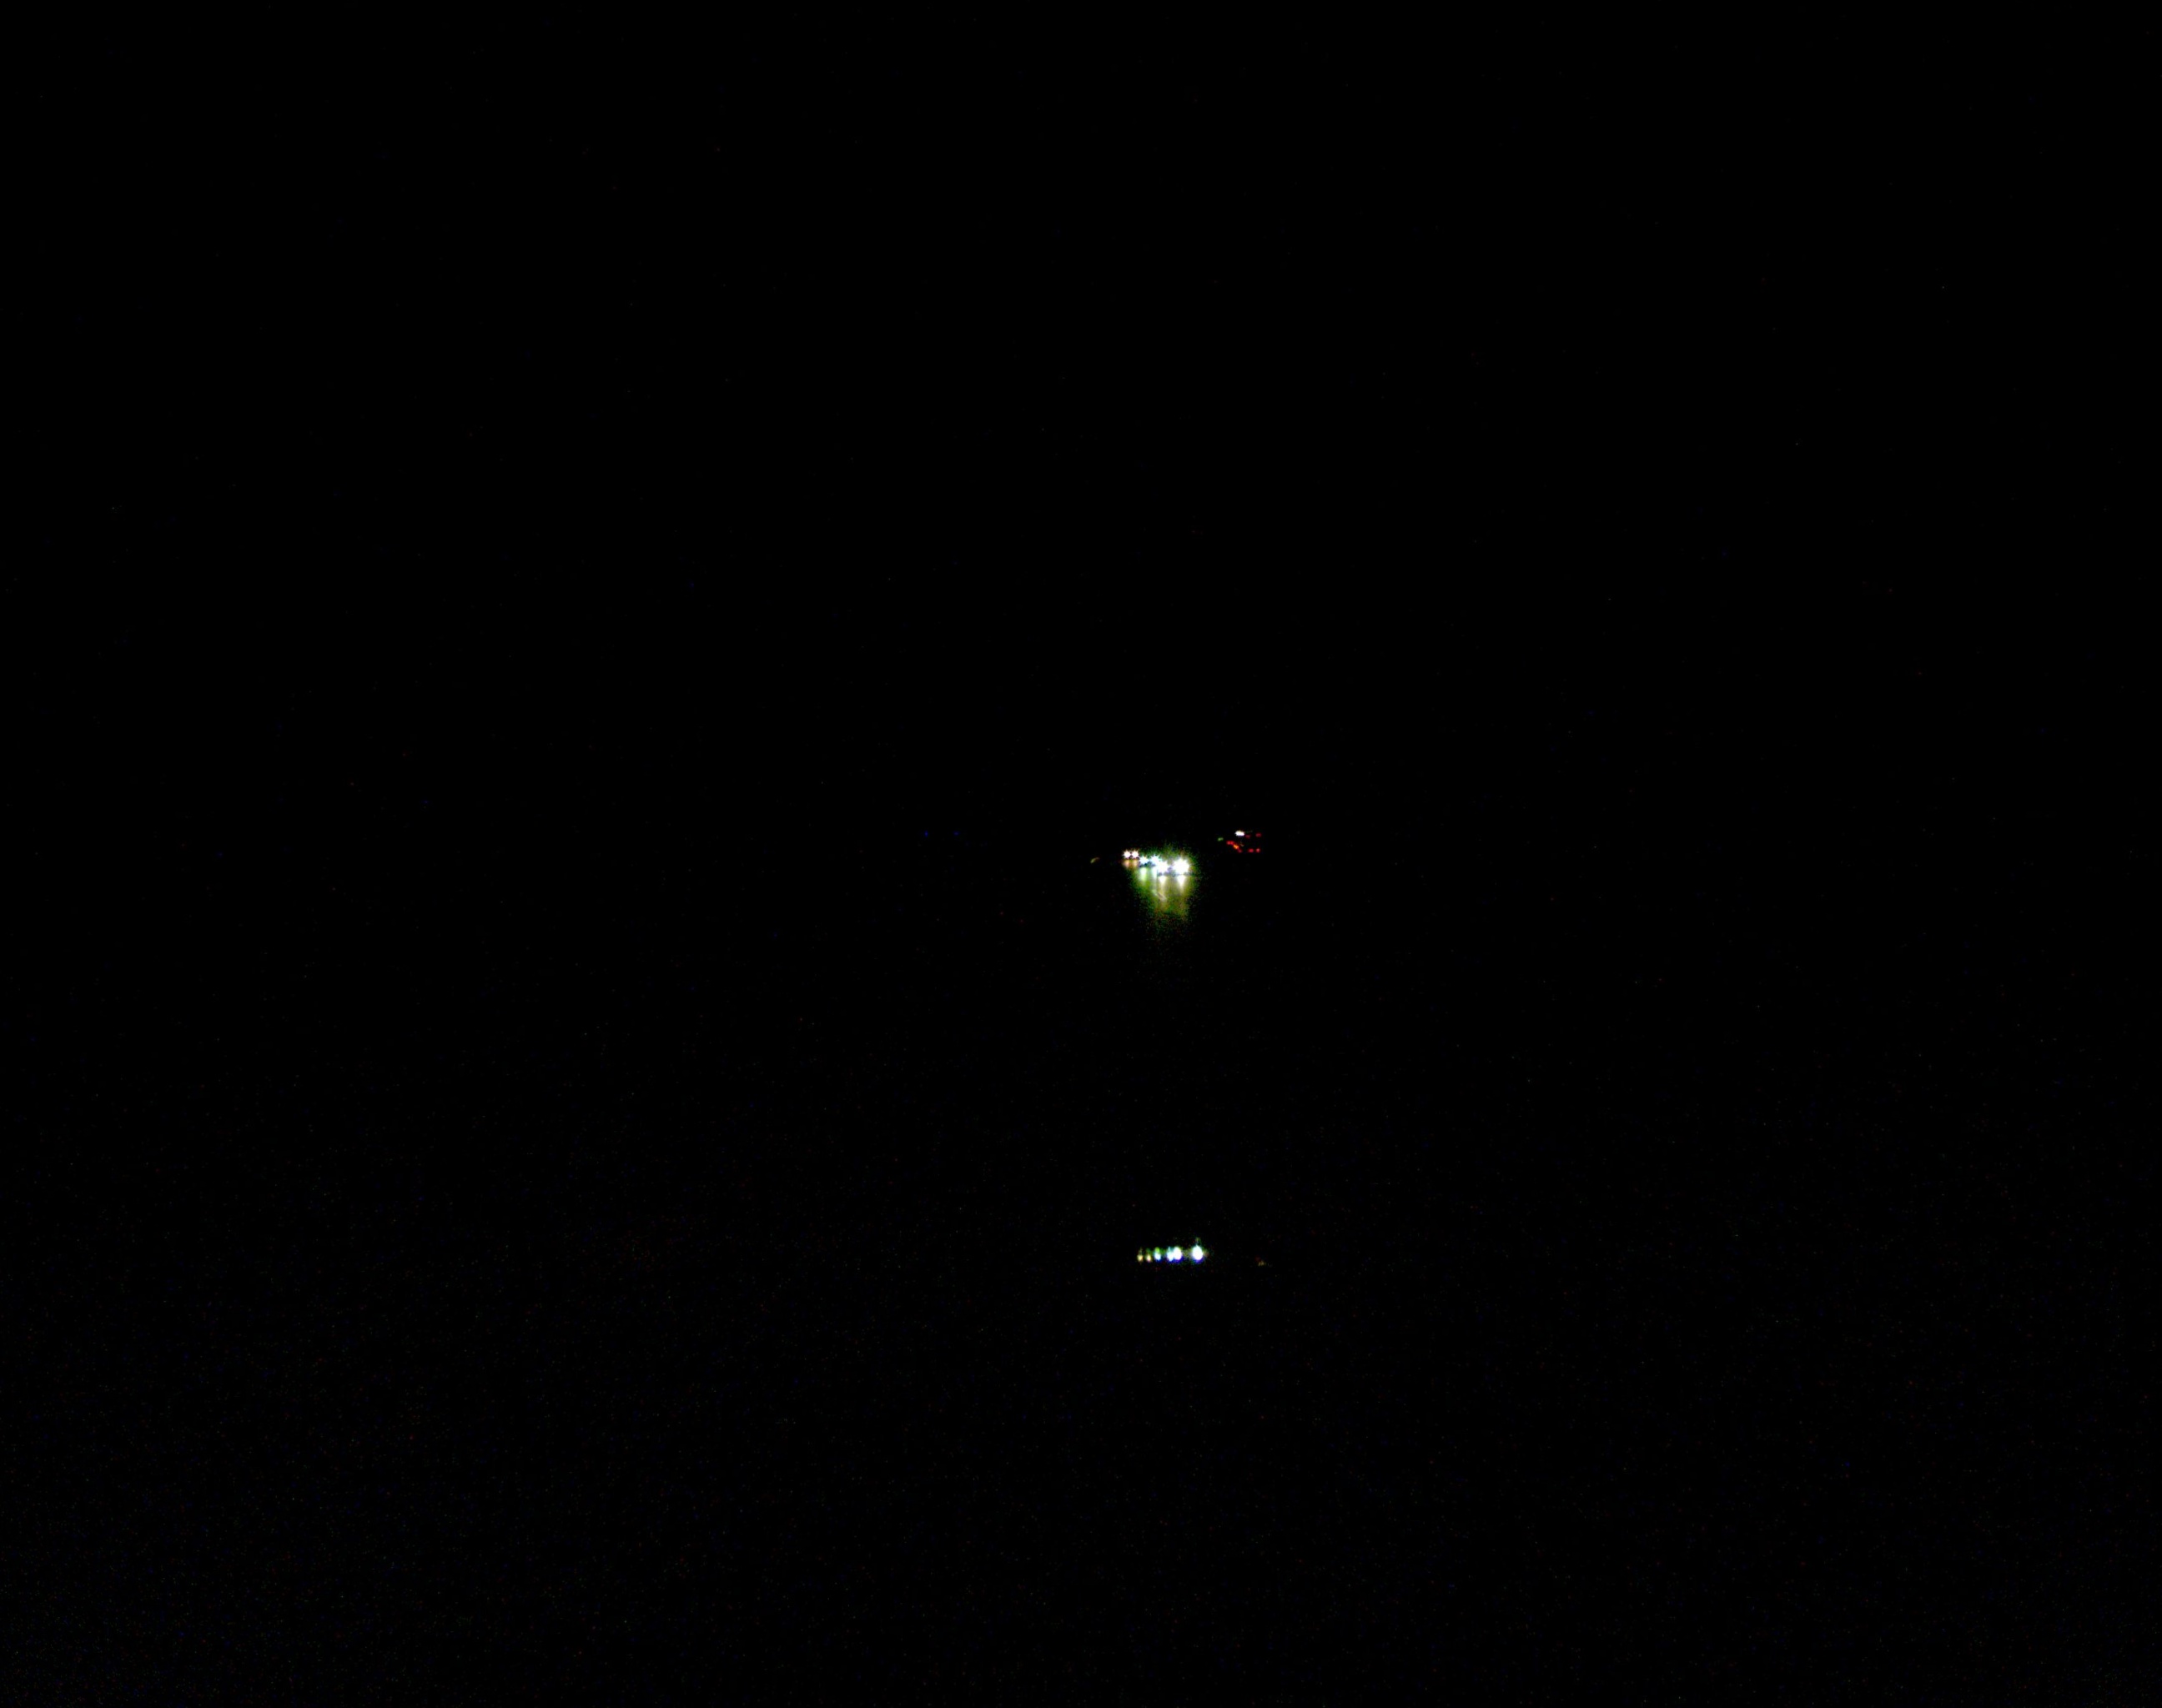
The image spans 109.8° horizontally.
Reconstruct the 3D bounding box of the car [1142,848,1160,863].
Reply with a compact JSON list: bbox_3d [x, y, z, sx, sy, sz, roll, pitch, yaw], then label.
[{"bbox_3d":[8.088,0.106,87.357,1.998,1.456,4.000,-3,2,6],"label":"car"}]

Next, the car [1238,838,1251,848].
[{"bbox_3d":[30.758,-2.079,142.907,1.997,1.843,4.078,-1,0,7],"label":"car"}]

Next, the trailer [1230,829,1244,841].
[{"bbox_3d":[54.544,-6.599,265.681,3.606,4.067,14.129,-1,1,7],"label":"trailer"}]

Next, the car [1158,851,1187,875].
[{"bbox_3d":[6.335,0.594,52.567,1.832,1.404,4.001,-3,2,8],"label":"car"}]

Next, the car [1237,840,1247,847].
[{"bbox_3d":[46.898,-3.164,221.941,2.402,1.865,4.514,-1,1,7],"label":"car"}]

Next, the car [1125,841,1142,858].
[{"bbox_3d":[10.012,-0.811,145.056,2.532,2.889,6.229,-3,2,9],"label":"car"}]
